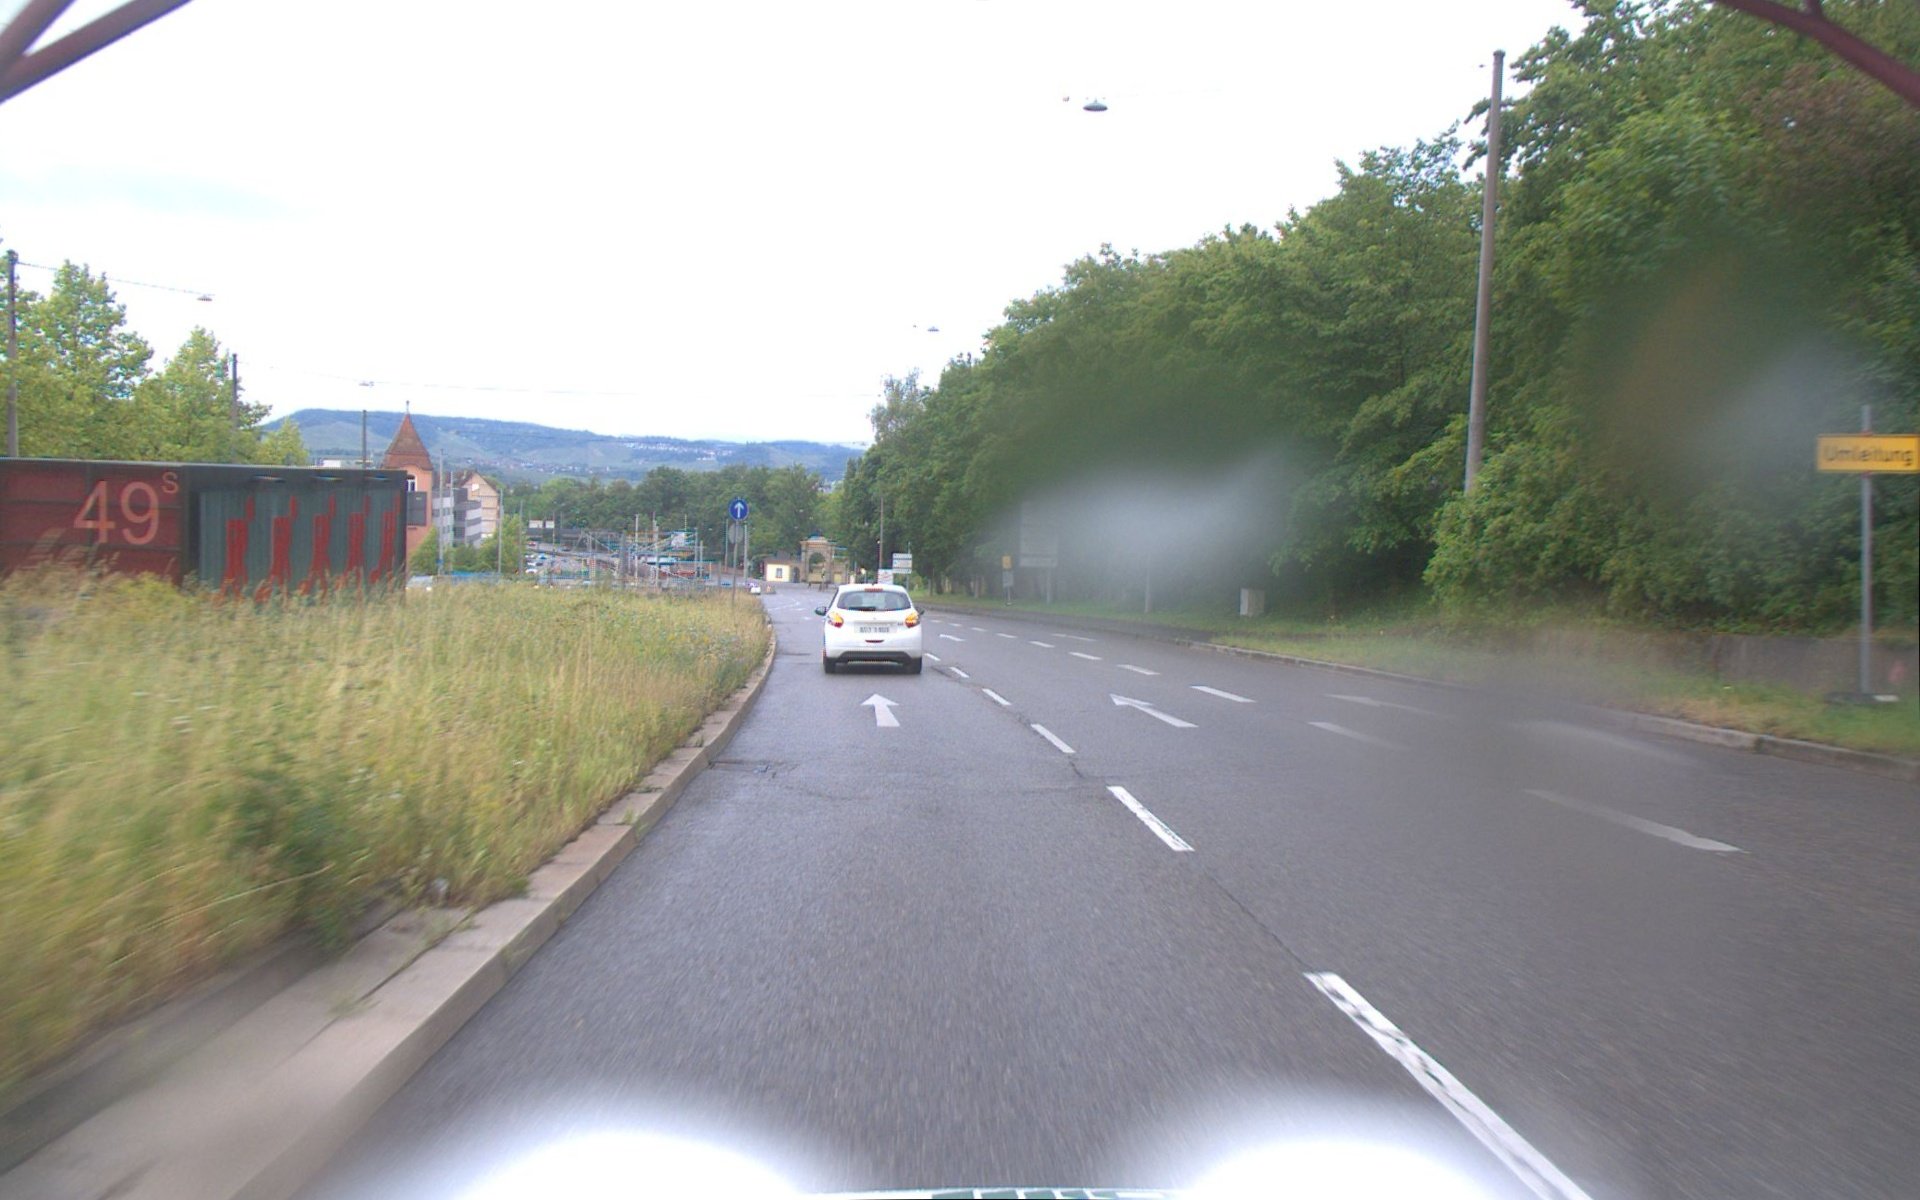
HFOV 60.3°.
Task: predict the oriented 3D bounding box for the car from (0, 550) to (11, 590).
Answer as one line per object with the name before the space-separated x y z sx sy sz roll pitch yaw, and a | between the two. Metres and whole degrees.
car | -23.901 -0.770 38.914 1.240 0.961 3.087 4 0 2

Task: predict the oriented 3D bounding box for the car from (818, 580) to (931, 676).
car | -1.537 0.439 28.896 1.832 1.537 3.896 0 1 -4

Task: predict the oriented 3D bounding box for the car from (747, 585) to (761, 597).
car | -28.525 -1.237 229.330 1.787 1.634 3.995 -1 1 -6
